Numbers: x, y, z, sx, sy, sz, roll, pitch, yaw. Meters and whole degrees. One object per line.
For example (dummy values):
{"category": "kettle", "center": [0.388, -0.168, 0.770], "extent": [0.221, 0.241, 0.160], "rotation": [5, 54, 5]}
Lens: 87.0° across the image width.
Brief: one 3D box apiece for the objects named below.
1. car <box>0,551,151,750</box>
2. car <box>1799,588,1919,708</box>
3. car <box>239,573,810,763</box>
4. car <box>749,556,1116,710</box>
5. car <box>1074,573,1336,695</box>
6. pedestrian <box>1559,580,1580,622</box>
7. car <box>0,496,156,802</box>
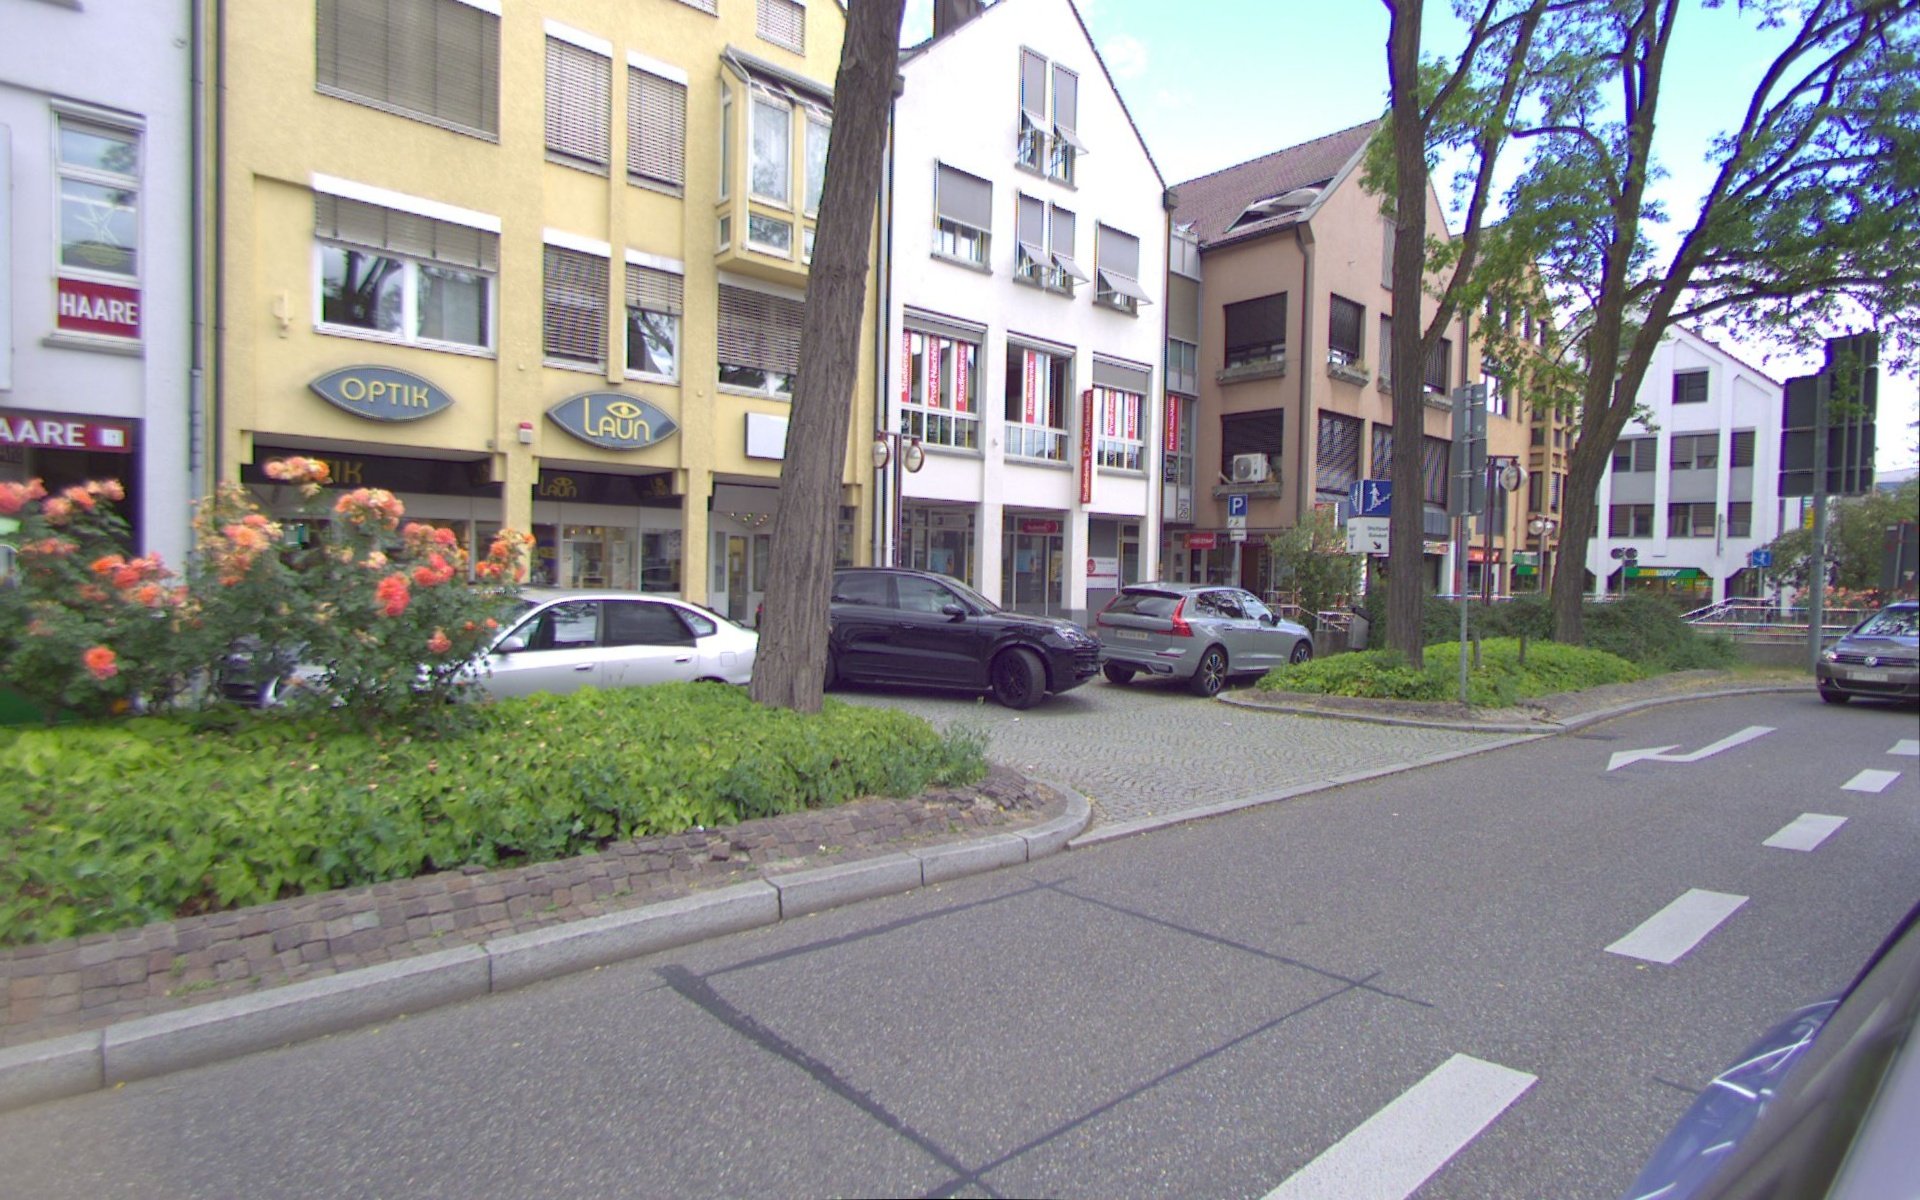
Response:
{"category": "car", "center": [-9.410, 0.391, 7.917], "extent": [4.676, 1.566, 1.996], "rotation": [-1, 3, -44]}
{"category": "car", "center": [14.204, 0.646, 14.800], "extent": [3.921, 1.549, 1.805], "rotation": [0, 2, -32]}
{"category": "car", "center": [-3.890, 0.450, 9.659], "extent": [4.676, 1.325, 1.840], "rotation": [-1, 3, -44]}
{"category": "car", "center": [-0.285, 0.366, 13.874], "extent": [4.679, 1.700, 1.994], "rotation": [3, 1, 11]}
{"category": "car", "center": [4.160, 0.435, 16.736], "extent": [4.676, 1.674, 1.996], "rotation": [-1, 3, -44]}
{"category": "pedestrian", "center": [24.129, 0.051, 40.097], "extent": [0.495, 1.645, 0.494], "rotation": [1, 1, 4]}
{"category": "car", "center": [-7.767, 0.270, 5.916], "extent": [4.674, 1.899, 1.996], "rotation": [-1, 3, -43]}
